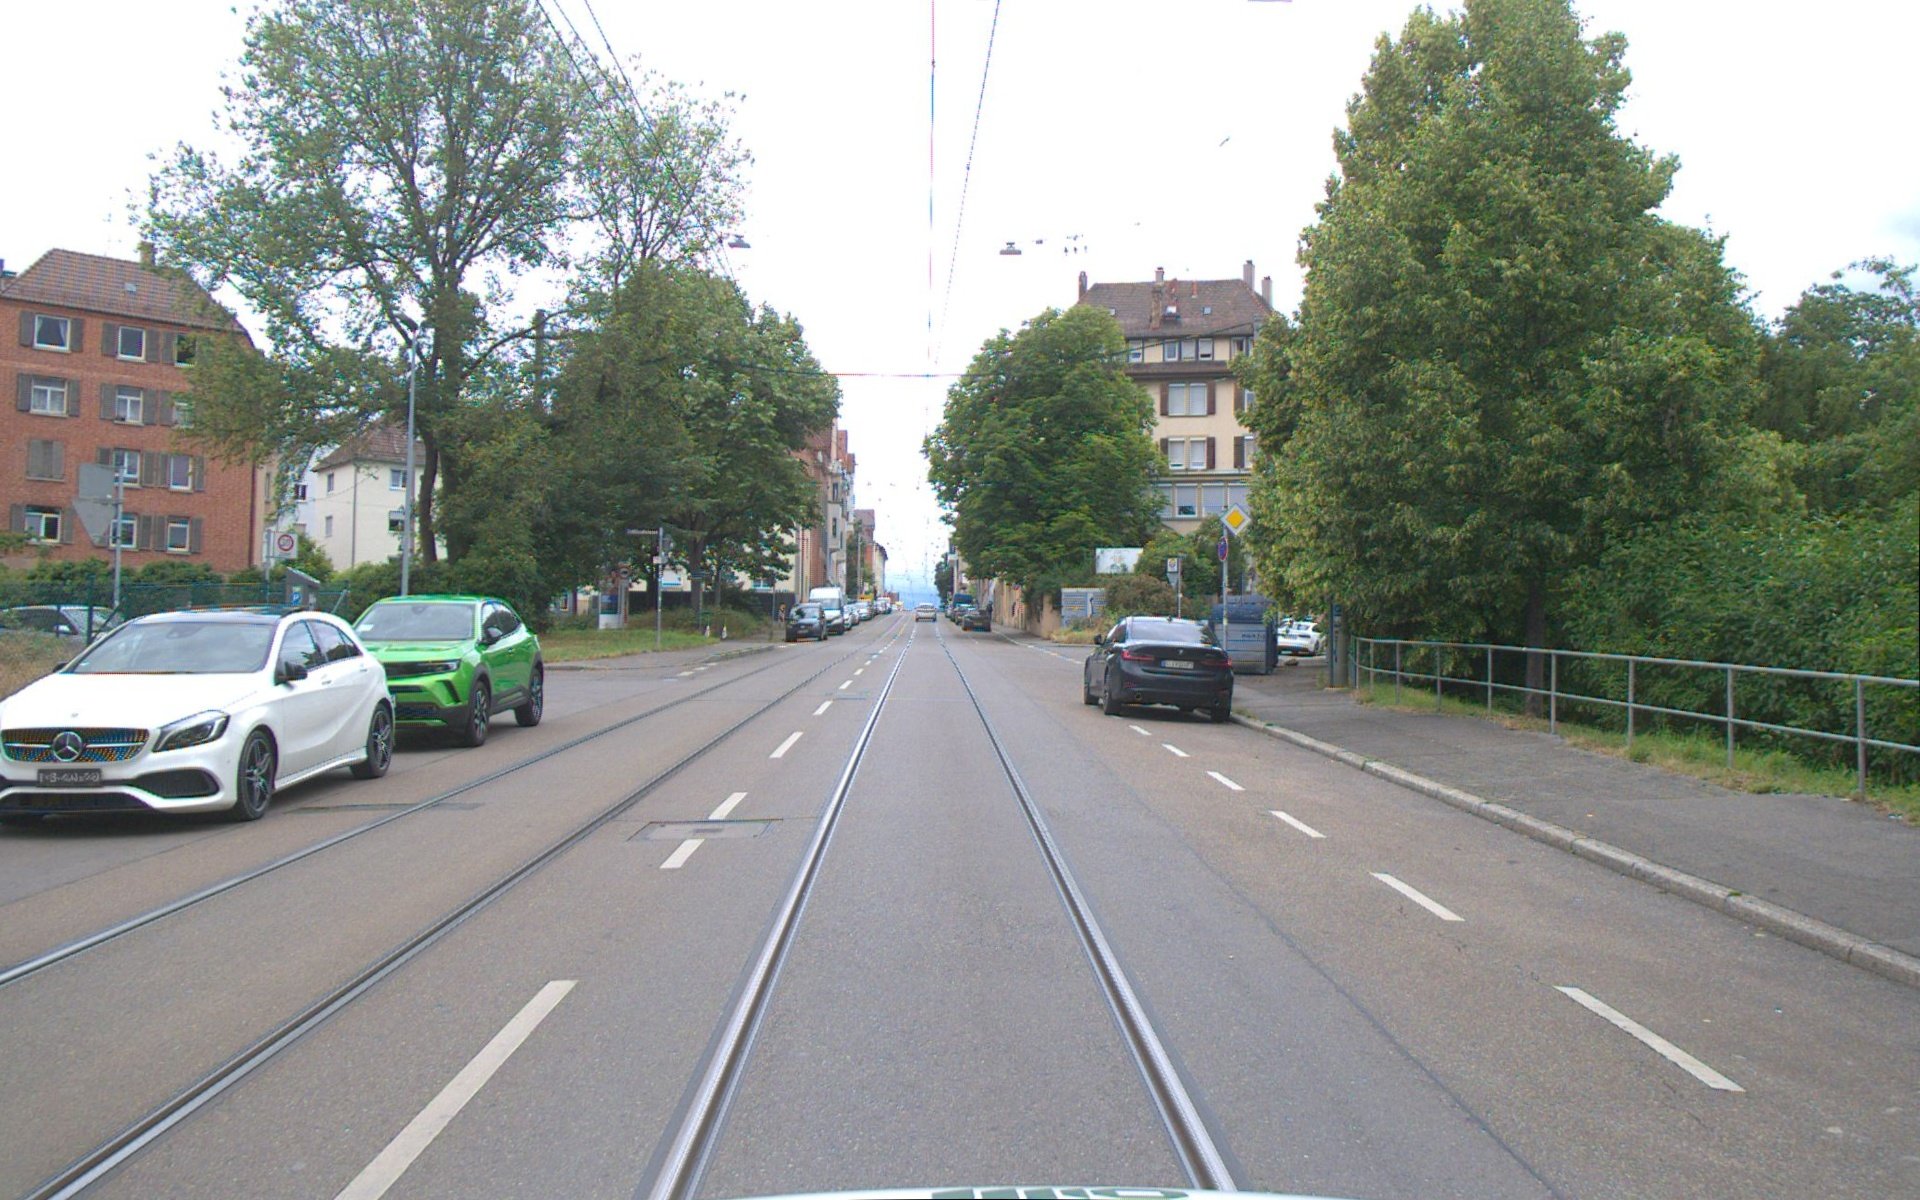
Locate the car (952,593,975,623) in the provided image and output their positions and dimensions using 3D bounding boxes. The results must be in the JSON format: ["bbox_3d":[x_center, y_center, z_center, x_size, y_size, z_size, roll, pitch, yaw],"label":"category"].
[{"bbox_3d":[0.256,0.714,146.723,1.953,2.619,4.703,0,-1,-1],"label":"car"}]

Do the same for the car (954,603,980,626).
[{"bbox_3d":[0.559,1.178,129.234,1.953,1.747,3.999,0,-1,-1],"label":"car"}]

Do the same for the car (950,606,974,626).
[{"bbox_3d":[0.150,1.359,141.205,1.953,1.680,3.999,0,-1,-1],"label":"car"}]

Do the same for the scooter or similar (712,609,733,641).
[{"bbox_3d":[-10.612,1.117,73.811,0.677,1.362,1.638,1,-1,0],"label":"scooter or similar"}]

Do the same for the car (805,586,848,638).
[{"bbox_3d":[-7.504,0.713,93.309,2.186,2.813,5.795,1,-1,-3],"label":"car"}]

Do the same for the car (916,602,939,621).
[{"bbox_3d":[-2.808,1.034,142.314,1.953,1.525,4.310,1,-1,-2],"label":"car"}]

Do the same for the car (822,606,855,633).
[{"bbox_3d":[-7.574,1.247,103.616,1.954,1.628,4.309,1,-1,-3],"label":"car"}]

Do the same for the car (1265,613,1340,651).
[{"bbox_3d":[14.423,1.373,69.506,1.955,1.505,4.458,1,-1,27],"label":"car"}]

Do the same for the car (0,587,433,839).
[{"bbox_3d":[-5.641,0.724,12.595,1.847,1.553,4.662,-1,-1,-1],"label":"car"}]

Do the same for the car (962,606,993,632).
[{"bbox_3d":[1.144,1.253,107.789,1.953,1.557,4.311,1,-1,0],"label":"car"}]

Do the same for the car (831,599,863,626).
[{"bbox_3d":[-8.167,0.908,119.888,1.953,1.844,4.311,1,-1,0],"label":"car"}]

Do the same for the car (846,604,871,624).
[{"bbox_3d":[-8.377,1.184,137.121,1.885,1.629,3.999,1,-1,-1],"label":"car"}]

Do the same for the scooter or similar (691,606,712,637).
[{"bbox_3d":[-11.544,0.960,73.905,0.677,1.362,1.638,1,-1,0],"label":"scooter or similar"}]

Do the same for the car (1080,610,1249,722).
[{"bbox_3d":[2.996,0.930,25.166,1.791,1.455,4.845,3,-1,-2],"label":"car"}]

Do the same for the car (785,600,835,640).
[{"bbox_3d":[-7.126,0.964,78.821,1.953,1.840,3.999,1,-1,0],"label":"car"}]

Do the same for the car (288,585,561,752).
[{"bbox_3d":[-5.696,0.670,18.133,1.688,1.607,4.179,0,0,-1],"label":"car"}]
